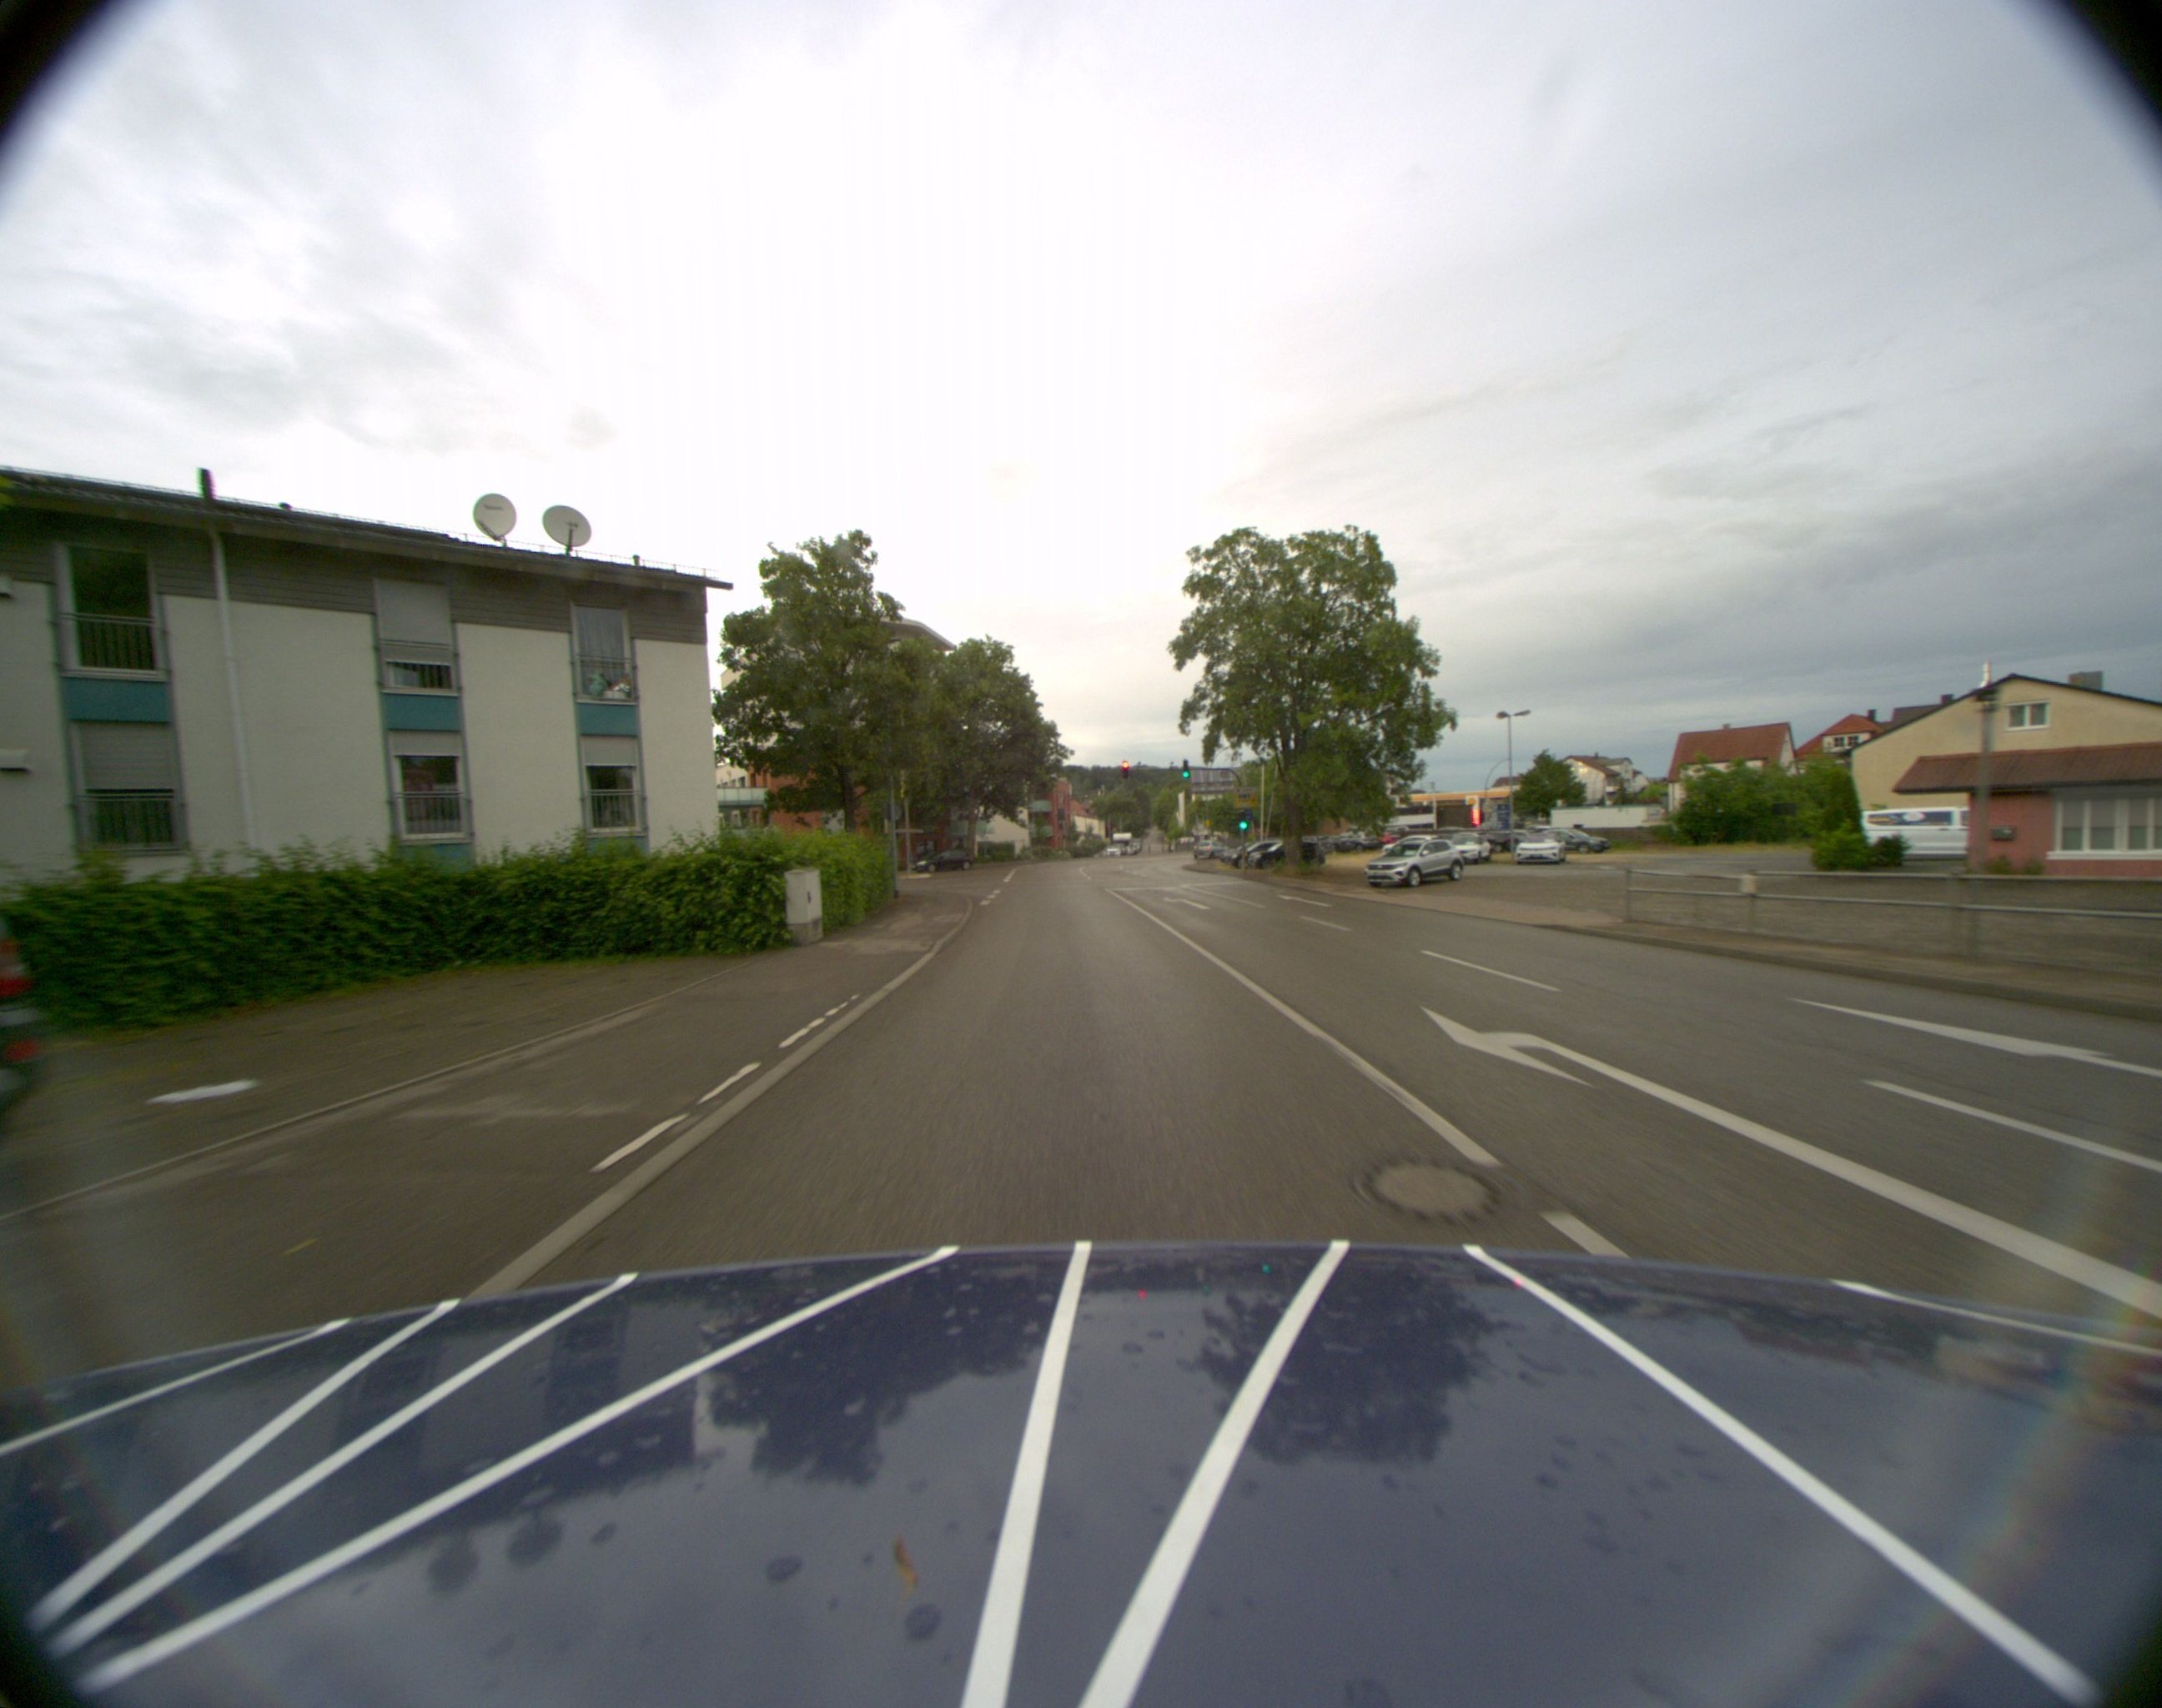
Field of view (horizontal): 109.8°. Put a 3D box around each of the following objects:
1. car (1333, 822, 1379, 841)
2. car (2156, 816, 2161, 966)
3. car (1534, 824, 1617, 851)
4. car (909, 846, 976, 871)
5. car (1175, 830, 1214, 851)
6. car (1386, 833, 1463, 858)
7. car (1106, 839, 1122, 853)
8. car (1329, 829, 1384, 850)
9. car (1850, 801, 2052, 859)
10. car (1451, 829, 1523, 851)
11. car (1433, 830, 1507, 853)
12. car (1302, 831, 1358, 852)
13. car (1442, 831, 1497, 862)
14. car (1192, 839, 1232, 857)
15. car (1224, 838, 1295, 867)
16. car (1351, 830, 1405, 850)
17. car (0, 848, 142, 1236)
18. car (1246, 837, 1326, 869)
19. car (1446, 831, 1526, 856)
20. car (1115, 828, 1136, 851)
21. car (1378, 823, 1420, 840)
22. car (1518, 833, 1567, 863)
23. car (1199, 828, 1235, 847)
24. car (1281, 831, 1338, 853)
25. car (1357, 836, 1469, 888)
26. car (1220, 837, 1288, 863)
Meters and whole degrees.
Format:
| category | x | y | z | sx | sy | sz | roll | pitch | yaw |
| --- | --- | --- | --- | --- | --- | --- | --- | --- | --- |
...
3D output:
| category | x | y | z | sx | sy | sz | roll | pitch | yaw |
| --- | --- | --- | --- | --- | --- | --- | --- | --- | --- |
| car | 30.472 | -2.509 | 84.219 | 5.264 | 2.074 | 2.048 | -2 | 1 | -33 |
| car | 15.334 | 0.406 | 8.095 | 2.067 | 1.860 | 4.272 | -3 | 1 | -29 |
| car | 31.201 | -1.011 | 48.062 | 1.793 | 1.546 | 4.034 | -3 | 2 | -30 |
| car | -9.203 | 0.285 | 50.608 | 4.007 | 1.420 | 1.765 | -5 | 4 | -44 |
| car | 12.558 | -1.494 | 84.223 | 1.773 | 2.094 | 4.371 | -4 | 5 | -32 |
| car | 21.571 | -0.537 | 47.860 | 1.793 | 1.444 | 4.033 | -3 | 2 | -34 |
| car | 3.662 | -0.865 | 84.824 | 1.769 | 1.459 | 4.000 | -2 | 1 | 2 |
| car | 21.954 | -1.167 | 60.645 | 1.596 | 1.542 | 3.764 | -4 | 2 | -43 |
| car | 32.616 | -0.848 | 28.640 | 1.964 | 1.976 | 4.859 | -3 | 2 | -37 |
| car | 28.309 | -0.963 | 53.077 | 1.793 | 1.444 | 4.033 | -3 | 2 | -34 |
| car | 26.189 | -0.840 | 51.251 | 1.793 | 1.444 | 4.033 | -3 | 2 | -34 |
| car | 19.275 | -0.948 | 58.892 | 1.596 | 1.542 | 3.764 | -4 | 2 | -43 |
| car | 20.943 | -0.403 | 40.887 | 1.785 | 1.501 | 4.051 | -1 | 2 | 39 |
| car | 10.864 | -0.513 | 62.810 | 1.646 | 1.373 | 3.710 | 0 | 1 | 38 |
| car | 10.417 | -0.092 | 44.456 | 3.766 | 1.558 | 1.672 | -2 | 1 | 4 |
| car | 24.400 | -1.143 | 62.439 | 1.596 | 1.542 | 3.764 | -4 | 2 | -43 |
| car | -7.002 | 0.937 | 2.946 | 4.223 | 1.739 | 1.984 | -3 | 0 | 1 |
| car | 11.157 | -0.068 | 41.565 | 3.893 | 1.558 | 1.672 | -2 | 1 | 1 |
| car | 25.326 | -0.627 | 47.616 | 1.793 | 1.444 | 4.033 | -3 | 2 | -34 |
| car | 5.967 | -1.962 | 101.310 | 2.573 | 2.759 | 6.126 | -1 | 4 | 5 |
| car | 36.628 | -2.552 | 87.483 | 4.930 | 1.853 | 2.048 | -2 | 1 | -33 |
| car | 23.541 | -0.324 | 38.701 | 1.824 | 1.407 | 4.017 | -1 | 1 | 36 |
| car | 15.786 | -1.941 | 88.339 | 1.773 | 2.094 | 4.210 | -4 | 5 | -33 |
| car | 17.172 | -0.864 | 57.149 | 1.596 | 1.542 | 3.764 | -4 | 2 | -43 |
| car | 12.186 | 0.277 | 27.832 | 4.014 | 1.561 | 1.717 | -5 | 1 | -32 |
| car | 11.130 | -0.244 | 48.883 | 4.153 | 1.502 | 1.673 | -2 | 2 | 14 |
